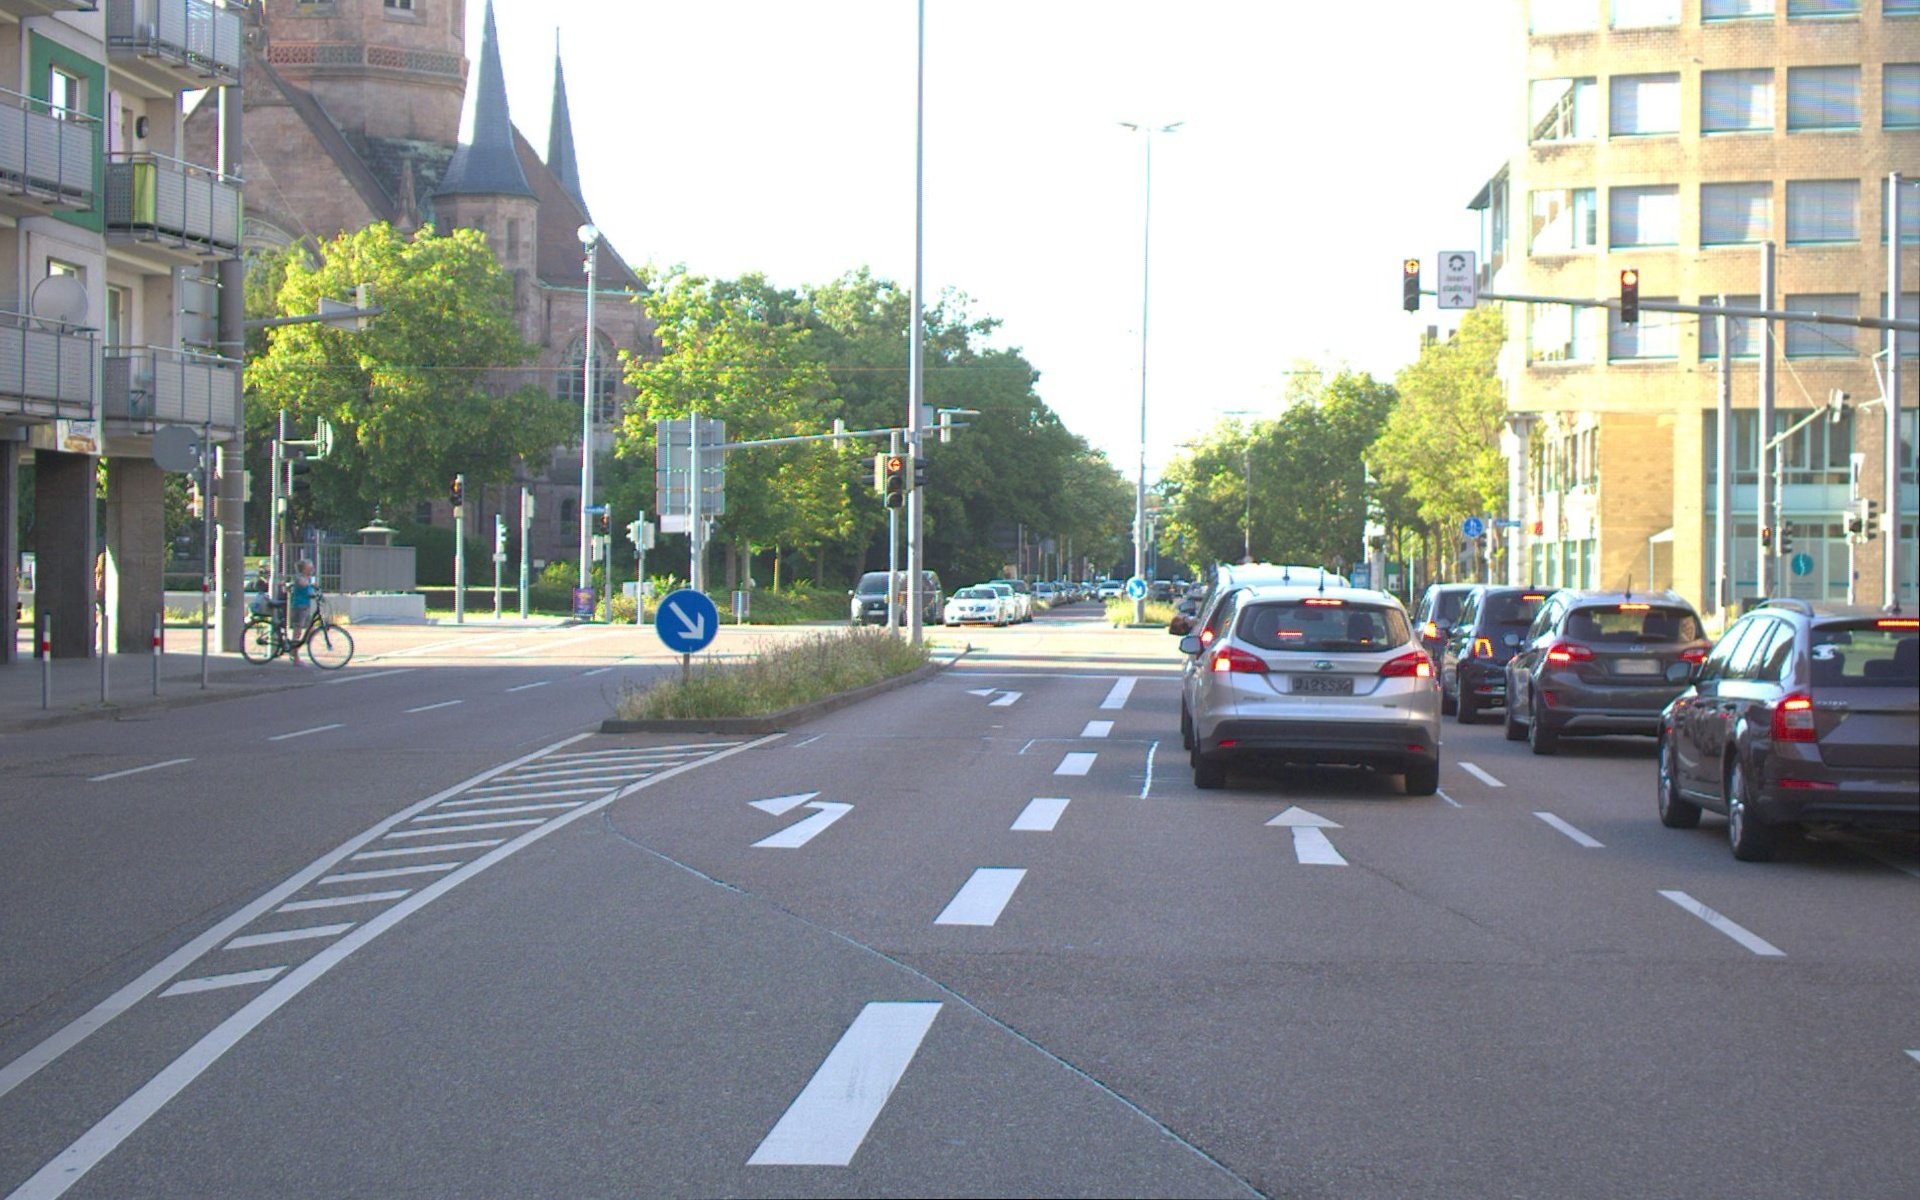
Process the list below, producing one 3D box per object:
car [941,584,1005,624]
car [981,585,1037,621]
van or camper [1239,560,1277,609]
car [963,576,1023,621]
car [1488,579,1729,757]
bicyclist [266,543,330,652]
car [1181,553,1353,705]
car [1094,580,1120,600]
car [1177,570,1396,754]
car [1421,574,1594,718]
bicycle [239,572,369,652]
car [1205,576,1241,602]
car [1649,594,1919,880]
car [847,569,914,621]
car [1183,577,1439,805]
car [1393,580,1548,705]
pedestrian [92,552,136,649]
[{"bbox_3d":[0.434,0.117,110.601,1.780,1.232,3.999,1,1,4],"label":"car"},{"bbox_3d":[1.774,0.104,124.384,1.780,1.232,3.999,1,1,4],"label":"car"},{"bbox_3d":[16.431,-0.850,189.390,1.994,2.631,5.349,1,1,5],"label":"van or camper"},{"bbox_3d":[1.136,-0.058,117.139,1.780,1.459,3.999,1,1,4],"label":"car"},{"bbox_3d":[5.965,0.578,32.041,1.651,1.479,4.239,2,1,4],"label":"car"},{"bbox_3d":[-10.209,-0.041,53.031,0.782,1.654,0.900,0,0,3],"label":"bicyclist"},{"bbox_3d":[3.480,0.289,39.589,1.784,1.627,4.478,1,1,3],"label":"car"},{"bbox_3d":[11.050,-0.733,257.908,1.780,1.444,3.999,1,1,4],"label":"car"},{"bbox_3d":[2.941,0.520,31.591,1.804,1.563,3.618,0,1,3],"label":"car"},{"bbox_3d":[6.019,0.472,38.047,1.489,1.500,3.479,1,1,3],"label":"car"},{"bbox_3d":[-10.045,0.180,52.640,1.827,1.184,0.734,1,0,3],"label":"bicycle"},{"bbox_3d":[16.837,-0.702,220.281,1.993,1.587,4.000,1,1,1],"label":"car"},{"bbox_3d":[5.178,0.718,20.065,1.708,1.452,4.158,0,1,4],"label":"car"},{"bbox_3d":[-2.552,-0.172,111.365,1.780,1.641,3.999,1,1,4],"label":"car"},{"bbox_3d":[2.555,0.608,25.816,1.708,1.504,4.308,2,1,4],"label":"car"},{"bbox_3d":[6.422,0.502,43.569,1.585,1.442,3.647,2,1,3],"label":"car"},{"bbox_3d":[-14.510,0.007,58.981,0.468,1.636,0.576,1,0,24],"label":"pedestrian"}]
